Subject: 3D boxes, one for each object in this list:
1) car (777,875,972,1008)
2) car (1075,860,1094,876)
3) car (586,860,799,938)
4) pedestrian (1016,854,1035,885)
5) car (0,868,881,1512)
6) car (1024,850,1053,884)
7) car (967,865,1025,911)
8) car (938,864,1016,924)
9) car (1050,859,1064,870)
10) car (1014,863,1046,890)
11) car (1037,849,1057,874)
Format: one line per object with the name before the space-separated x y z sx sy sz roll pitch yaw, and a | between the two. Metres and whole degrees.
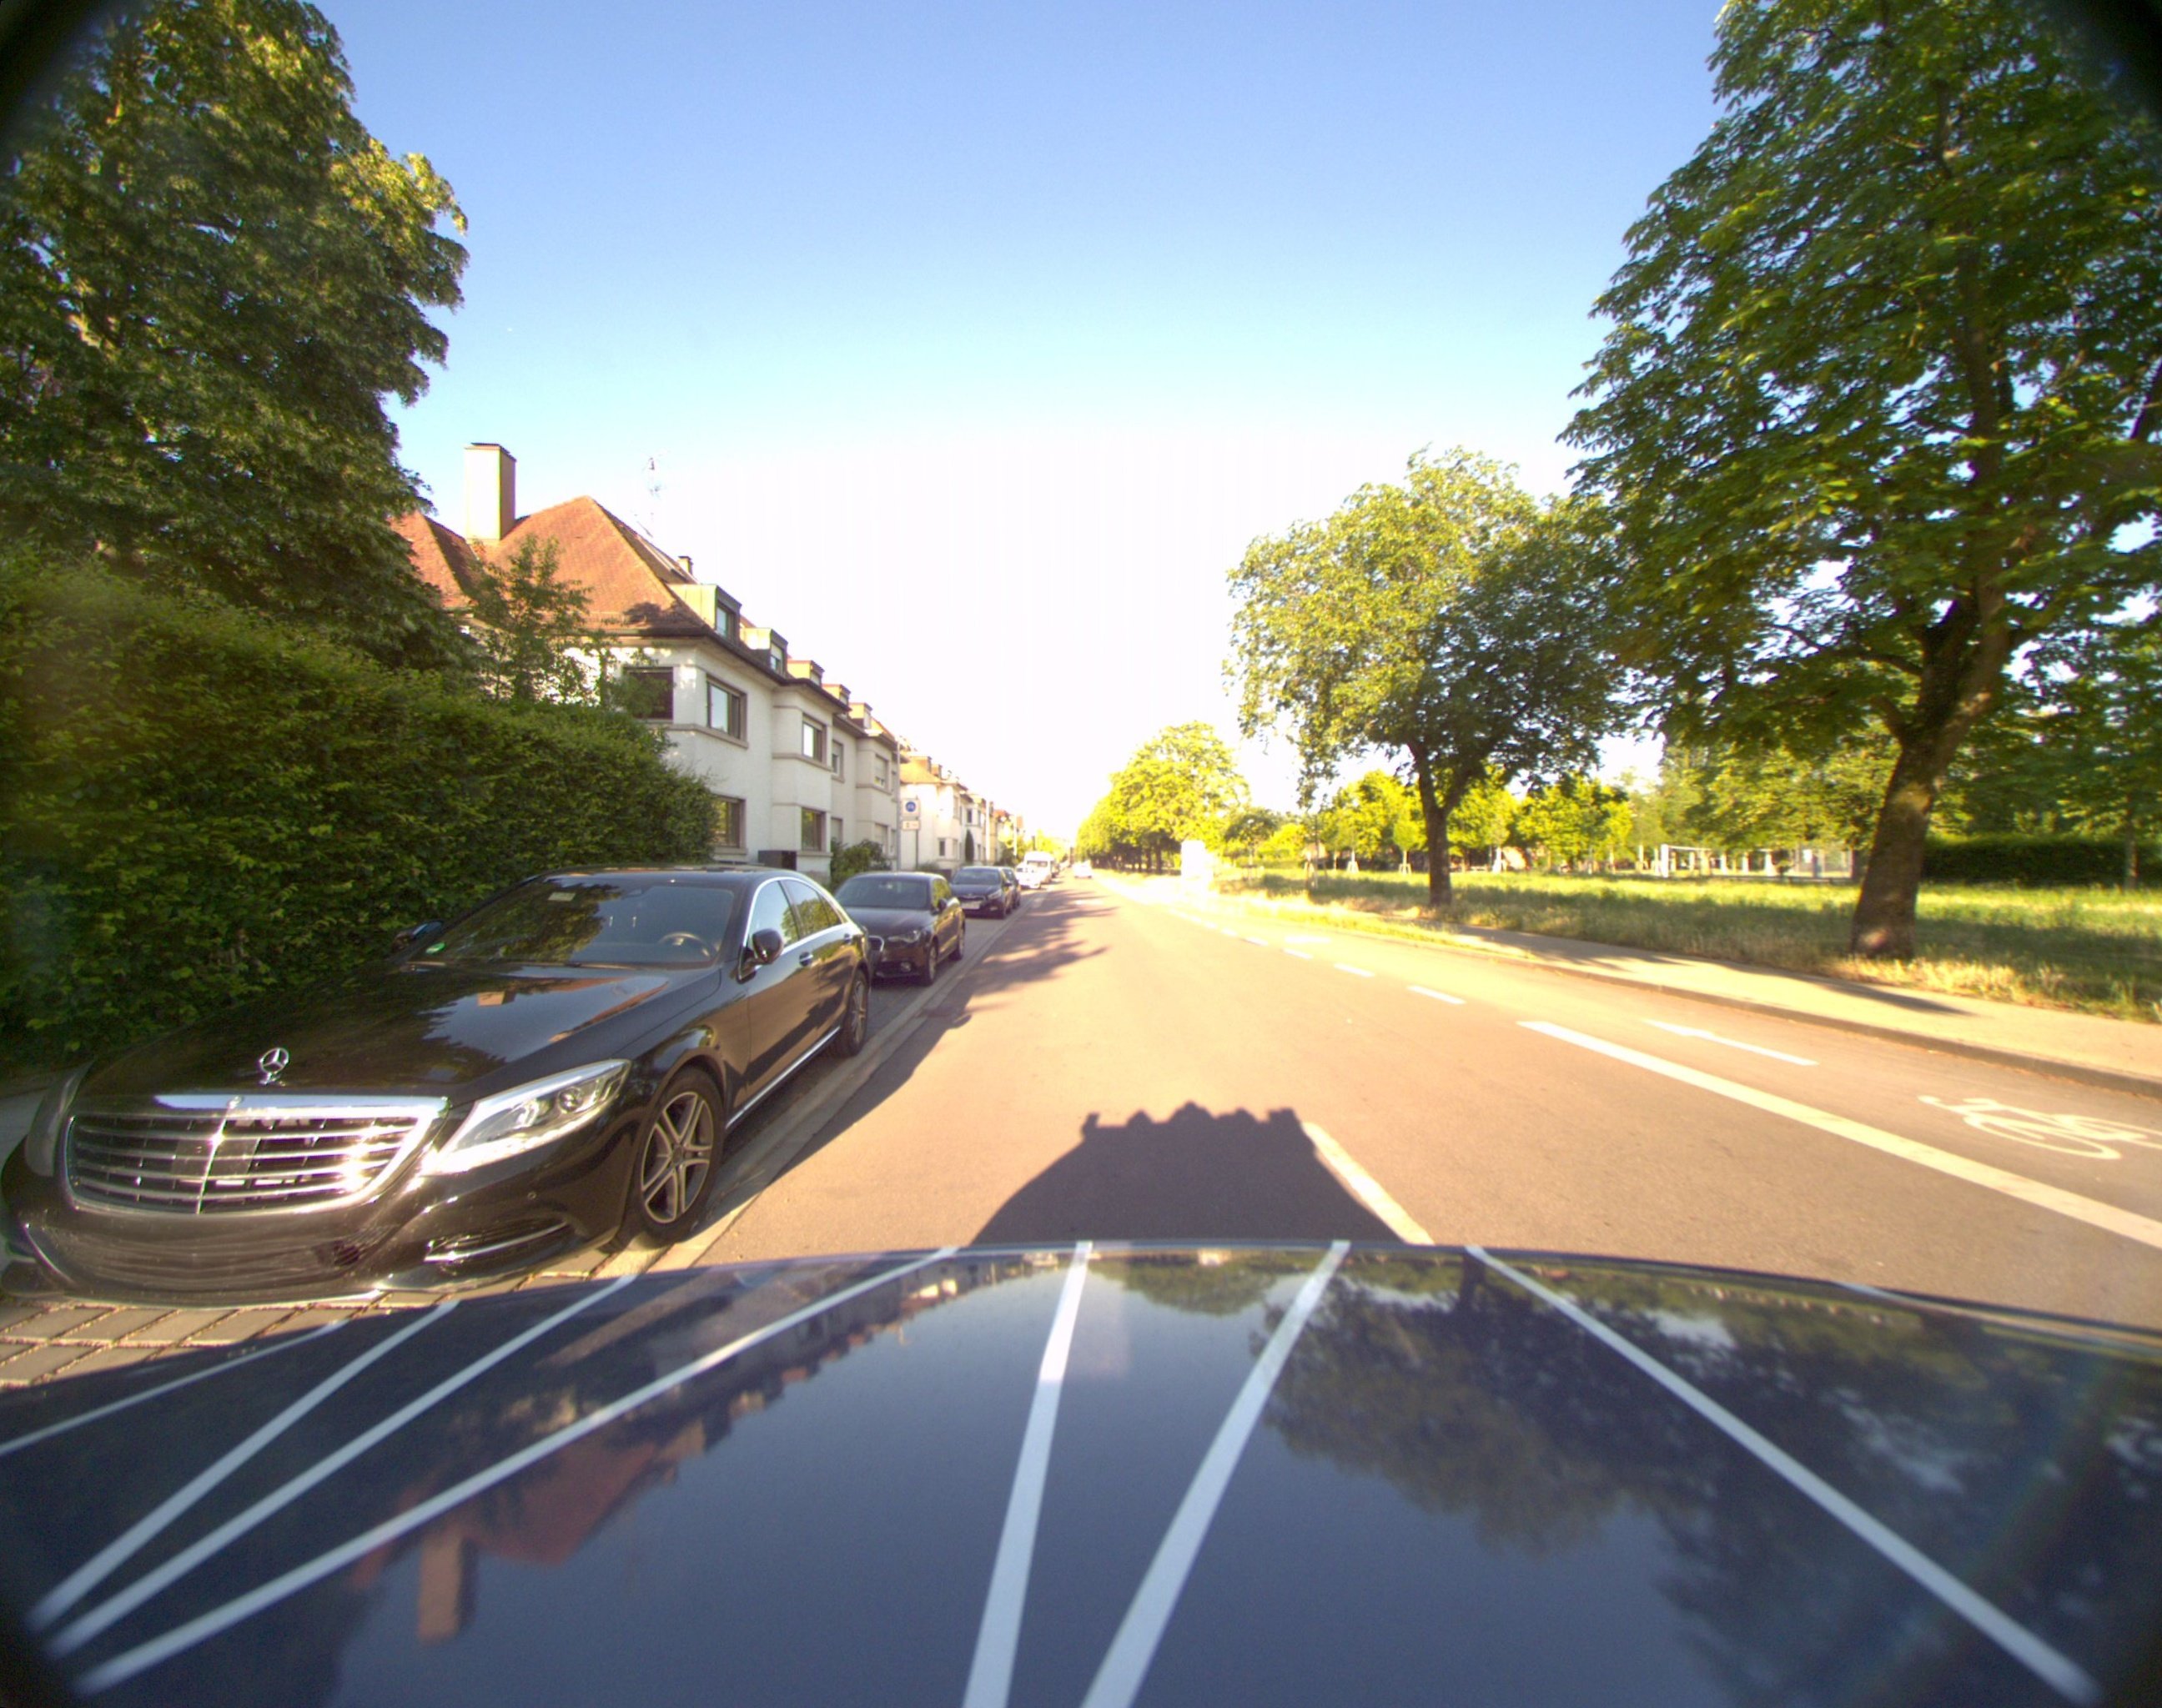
car | -2.659 1.061 10.714 1.645 1.419 3.936 2 0 0
car | 0.357 1.553 84.232 1.896 1.667 4.423 -1 0 -4
car | -8.232 0.934 16.376 3.644 1.487 1.780 2 0 -5
pedestrian | -3.641 1.000 49.674 1.089 2.002 0.865 0 0 -16
car | -2.633 0.900 4.344 1.864 1.533 4.872 1 0 -3
car | -3.282 0.963 59.701 2.135 2.503 5.507 1 0 -2
car | -3.012 1.163 27.564 1.723 1.463 3.983 2 0 -2
car | -2.930 1.085 22.233 1.751 1.466 4.255 3 0 -2
car | -3.675 1.607 116.660 1.974 1.630 4.000 2 -1 -1
car | -3.105 1.335 46.691 1.787 1.498 4.233 -1 0 -2
car | -4.006 0.910 90.235 2.134 2.837 5.987 -1 0 -1
